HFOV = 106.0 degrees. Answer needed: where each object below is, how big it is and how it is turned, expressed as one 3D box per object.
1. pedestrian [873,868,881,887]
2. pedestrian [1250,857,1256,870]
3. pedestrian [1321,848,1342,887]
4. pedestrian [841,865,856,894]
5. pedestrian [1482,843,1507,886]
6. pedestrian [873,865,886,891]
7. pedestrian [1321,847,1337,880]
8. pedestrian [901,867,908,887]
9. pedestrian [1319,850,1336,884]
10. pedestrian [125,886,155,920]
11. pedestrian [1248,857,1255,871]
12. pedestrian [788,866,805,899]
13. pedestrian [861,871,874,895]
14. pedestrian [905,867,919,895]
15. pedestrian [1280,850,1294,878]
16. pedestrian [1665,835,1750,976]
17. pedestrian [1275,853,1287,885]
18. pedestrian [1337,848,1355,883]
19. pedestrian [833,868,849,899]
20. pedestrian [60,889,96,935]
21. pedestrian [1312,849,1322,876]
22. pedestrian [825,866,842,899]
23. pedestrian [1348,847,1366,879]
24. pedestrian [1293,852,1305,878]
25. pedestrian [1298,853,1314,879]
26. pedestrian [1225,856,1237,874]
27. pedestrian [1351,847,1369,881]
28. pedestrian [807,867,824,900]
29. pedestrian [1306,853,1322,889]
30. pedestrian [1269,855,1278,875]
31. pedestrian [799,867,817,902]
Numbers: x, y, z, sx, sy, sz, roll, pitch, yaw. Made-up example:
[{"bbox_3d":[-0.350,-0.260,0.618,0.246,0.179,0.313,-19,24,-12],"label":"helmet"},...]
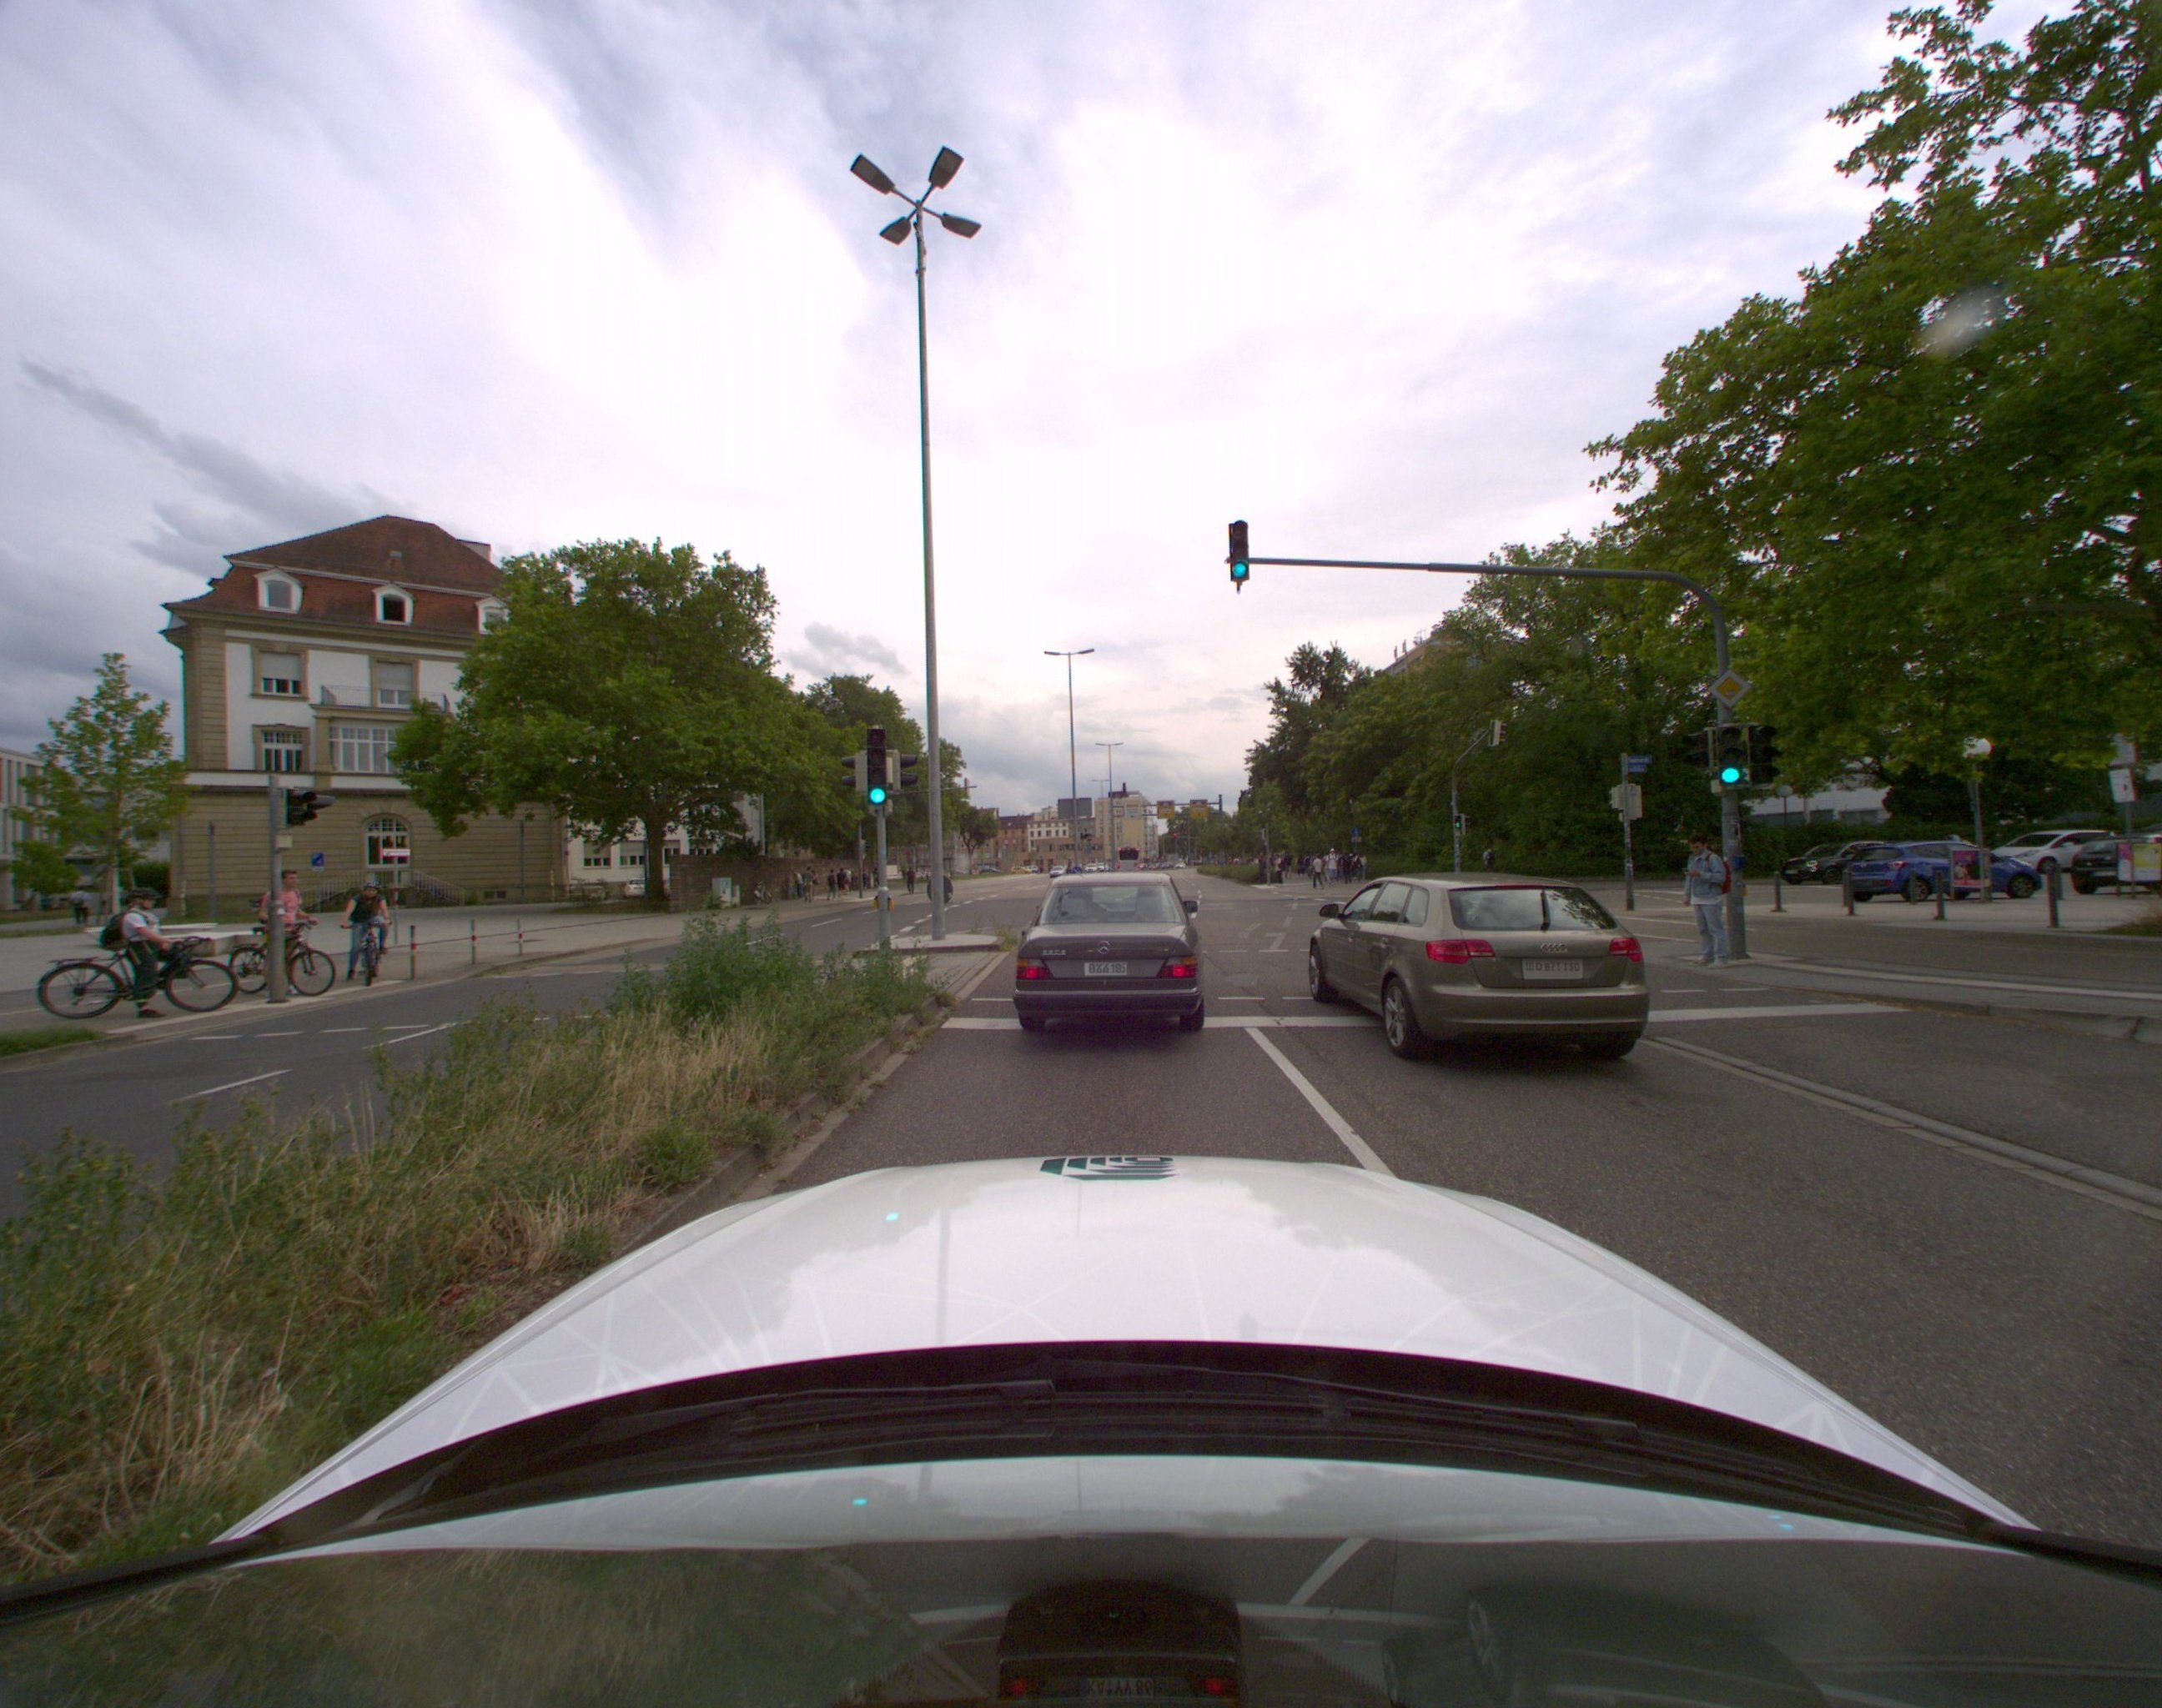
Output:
[{"bbox_3d":[-17.393,2.006,69.314,0.587,1.592,0.731,-1,-3,-18],"label":"pedestrian"},{"bbox_3d":[19.820,1.073,93.841,0.654,1.470,0.562,-2,-1,1],"label":"pedestrian"},{"bbox_3d":[12.327,0.664,40.065,0.644,1.852,0.826,0,-1,-9],"label":"pedestrian"},{"bbox_3d":[-14.539,1.622,50.846,0.762,1.783,0.907,-1,-3,-24],"label":"pedestrian"},{"bbox_3d":[17.987,0.455,35.430,0.642,1.795,0.741,-2,-1,3],"label":"pedestrian"},{"bbox_3d":[-14.103,1.689,56.959,0.762,1.783,0.917,-1,-3,-24],"label":"pedestrian"},{"bbox_3d":[13.424,0.526,44.136,0.578,1.745,0.790,-2,-1,3],"label":"pedestrian"},{"bbox_3d":[-15.398,1.995,70.915,0.560,1.668,0.624,-1,-3,-12],"label":"pedestrian"},{"bbox_3d":[12.755,0.674,42.121,0.621,1.745,0.781,-2,-1,3],"label":"pedestrian"},{"bbox_3d":[-57.178,2.963,49.488,0.921,2.014,1.218,-1,-1,-35],"label":"pedestrian"},{"bbox_3d":[20.406,1.207,97.417,0.641,1.713,0.564,-2,-1,20],"label":"pedestrian"},{"bbox_3d":[-15.700,1.552,44.958,0.749,1.783,0.776,0,-3,-30],"label":"pedestrian"},{"bbox_3d":[-15.551,2.113,59.374,0.762,1.783,0.777,-1,-3,-24],"label":"pedestrian"},{"bbox_3d":[-10.766,1.710,51.789,0.761,1.783,0.717,-1,-3,-19],"label":"pedestrian"},{"bbox_3d":[13.605,0.681,53.836,0.689,1.821,0.955,-2,-1,5],"label":"pedestrian"},{"bbox_3d":[8.407,0.673,10.947,0.570,1.817,0.683,-2,-1,5],"label":"pedestrian"},{"bbox_3d":[10.867,0.824,44.316,0.452,1.735,0.637,-2,-1,3],"label":"pedestrian"},{"bbox_3d":[13.658,0.580,41.998,0.654,1.745,0.781,-2,-1,3],"label":"pedestrian"},{"bbox_3d":[-13.857,1.702,46.947,0.762,1.783,0.777,-1,-3,-24],"label":"pedestrian"},{"bbox_3d":[-45.300,2.590,36.798,0.797,2.014,0.827,-1,-1,-33],"label":"pedestrian"},{"bbox_3d":[15.802,0.561,54.536,0.482,1.763,0.665,-2,-1,5],"label":"pedestrian"},{"bbox_3d":[-13.581,1.568,44.672,0.762,1.783,0.777,0,-3,-25],"label":"pedestrian"},{"bbox_3d":[15.144,0.487,44.703,0.654,1.745,0.781,-2,-1,3],"label":"pedestrian"},{"bbox_3d":[14.158,0.699,52.870,0.553,1.655,0.754,-2,-1,5],"label":"pedestrian"},{"bbox_3d":[14.104,0.746,51.026,0.771,1.602,0.813,-2,-1,5],"label":"pedestrian"},{"bbox_3d":[16.078,1.197,87.329,0.925,1.830,0.892,-3,-1,32],"label":"pedestrian"},{"bbox_3d":[14.368,0.521,41.946,0.654,1.745,0.781,-2,-1,3],"label":"pedestrian"},{"bbox_3d":[-14.626,1.647,44.880,0.763,1.783,0.777,0,-3,-27],"label":"pedestrian"},{"bbox_3d":[11.206,0.799,39.133,0.543,1.687,0.637,-2,-1,3],"label":"pedestrian"},{"bbox_3d":[16.937,0.976,71.735,0.584,1.683,0.749,-2,-1,5],"label":"pedestrian"},{"bbox_3d":[-13.888,1.556,41.472,0.749,1.783,0.777,0,-3,-28],"label":"pedestrian"}]
